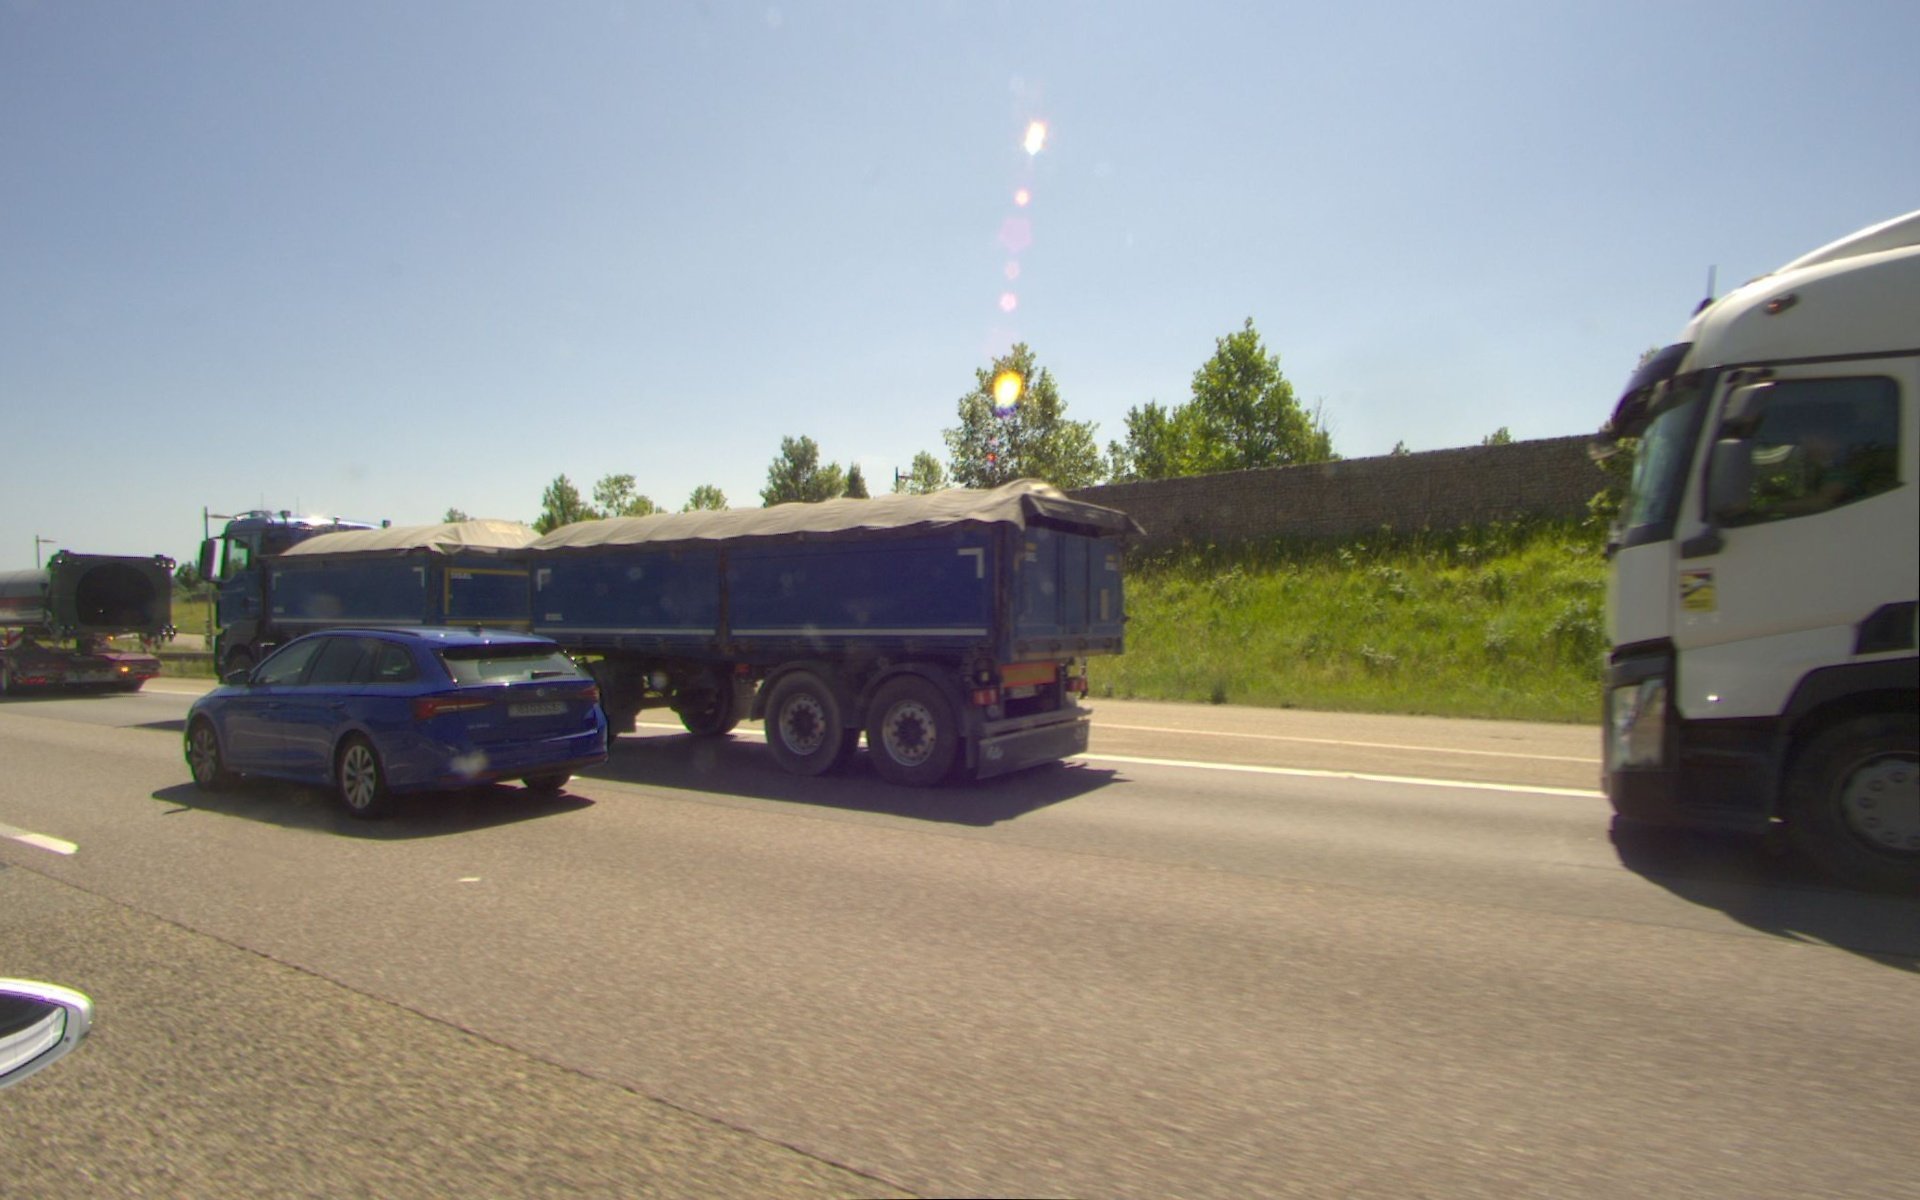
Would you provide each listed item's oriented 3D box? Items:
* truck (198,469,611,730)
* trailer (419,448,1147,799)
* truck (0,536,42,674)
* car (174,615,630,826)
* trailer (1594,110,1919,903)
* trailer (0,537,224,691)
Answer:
[{"bbox_3d":[-8.993,0.062,15.956,7.031,3.354,2.739,0,-1,33],"label":"truck"},{"bbox_3d":[-2.544,0.238,11.814,8.985,2.873,2.739,0,-1,33],"label":"trailer"},{"bbox_3d":[-32.424,0.228,31.555,7.423,4.146,3.617,-2,-2,35],"label":"truck"},{"bbox_3d":[-5.045,0.923,8.868,4.366,1.459,1.703,-2,-2,33],"label":"car"},{"bbox_3d":[7.208,-0.467,5.446,6.319,4.096,2.919,-1,-1,33],"label":"trailer"},{"bbox_3d":[-24.521,0.564,26.161,15.559,3.117,3.638,-2,-2,34],"label":"trailer"}]
